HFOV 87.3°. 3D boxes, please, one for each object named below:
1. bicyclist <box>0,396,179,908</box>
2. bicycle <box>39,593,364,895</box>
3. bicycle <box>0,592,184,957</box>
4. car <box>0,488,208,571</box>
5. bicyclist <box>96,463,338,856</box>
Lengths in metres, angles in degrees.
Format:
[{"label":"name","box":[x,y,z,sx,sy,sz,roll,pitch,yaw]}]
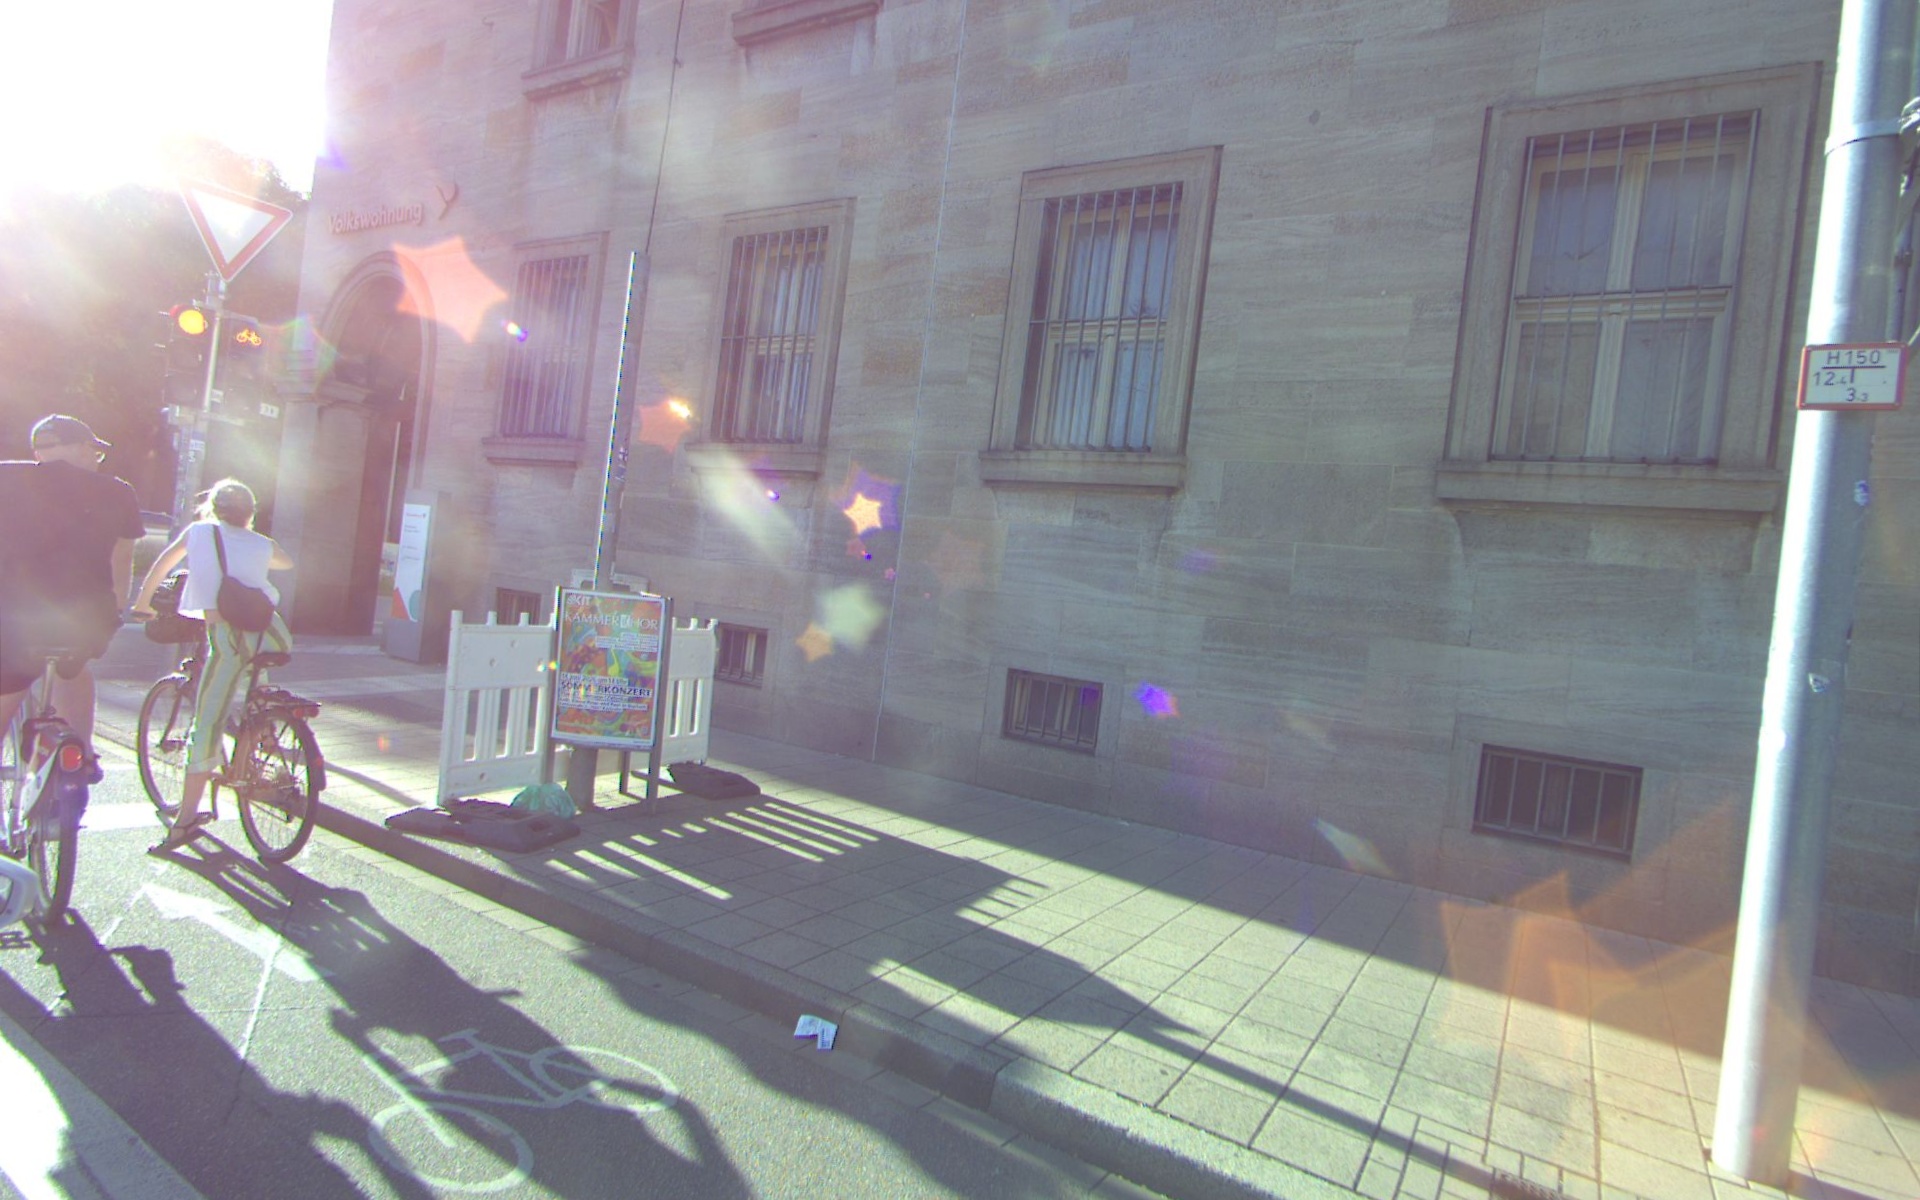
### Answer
[{"label":"bicyclist","box":[-3.548,0.191,3.849,0.541,1.820,0.559,7,-1,33]},{"label":"bicycle","box":[-3.681,0.620,4.837,1.721,1.090,0.535,7,-1,31]},{"label":"bicycle","box":[-3.737,0.573,3.919,1.700,1.090,0.516,7,-1,34]},{"label":"car","box":[-23.240,-1.873,27.412,1.623,1.630,3.999,7,-1,31]},{"label":"bicyclist","box":[-3.534,0.264,4.799,0.629,1.711,0.558,7,-1,30]}]
